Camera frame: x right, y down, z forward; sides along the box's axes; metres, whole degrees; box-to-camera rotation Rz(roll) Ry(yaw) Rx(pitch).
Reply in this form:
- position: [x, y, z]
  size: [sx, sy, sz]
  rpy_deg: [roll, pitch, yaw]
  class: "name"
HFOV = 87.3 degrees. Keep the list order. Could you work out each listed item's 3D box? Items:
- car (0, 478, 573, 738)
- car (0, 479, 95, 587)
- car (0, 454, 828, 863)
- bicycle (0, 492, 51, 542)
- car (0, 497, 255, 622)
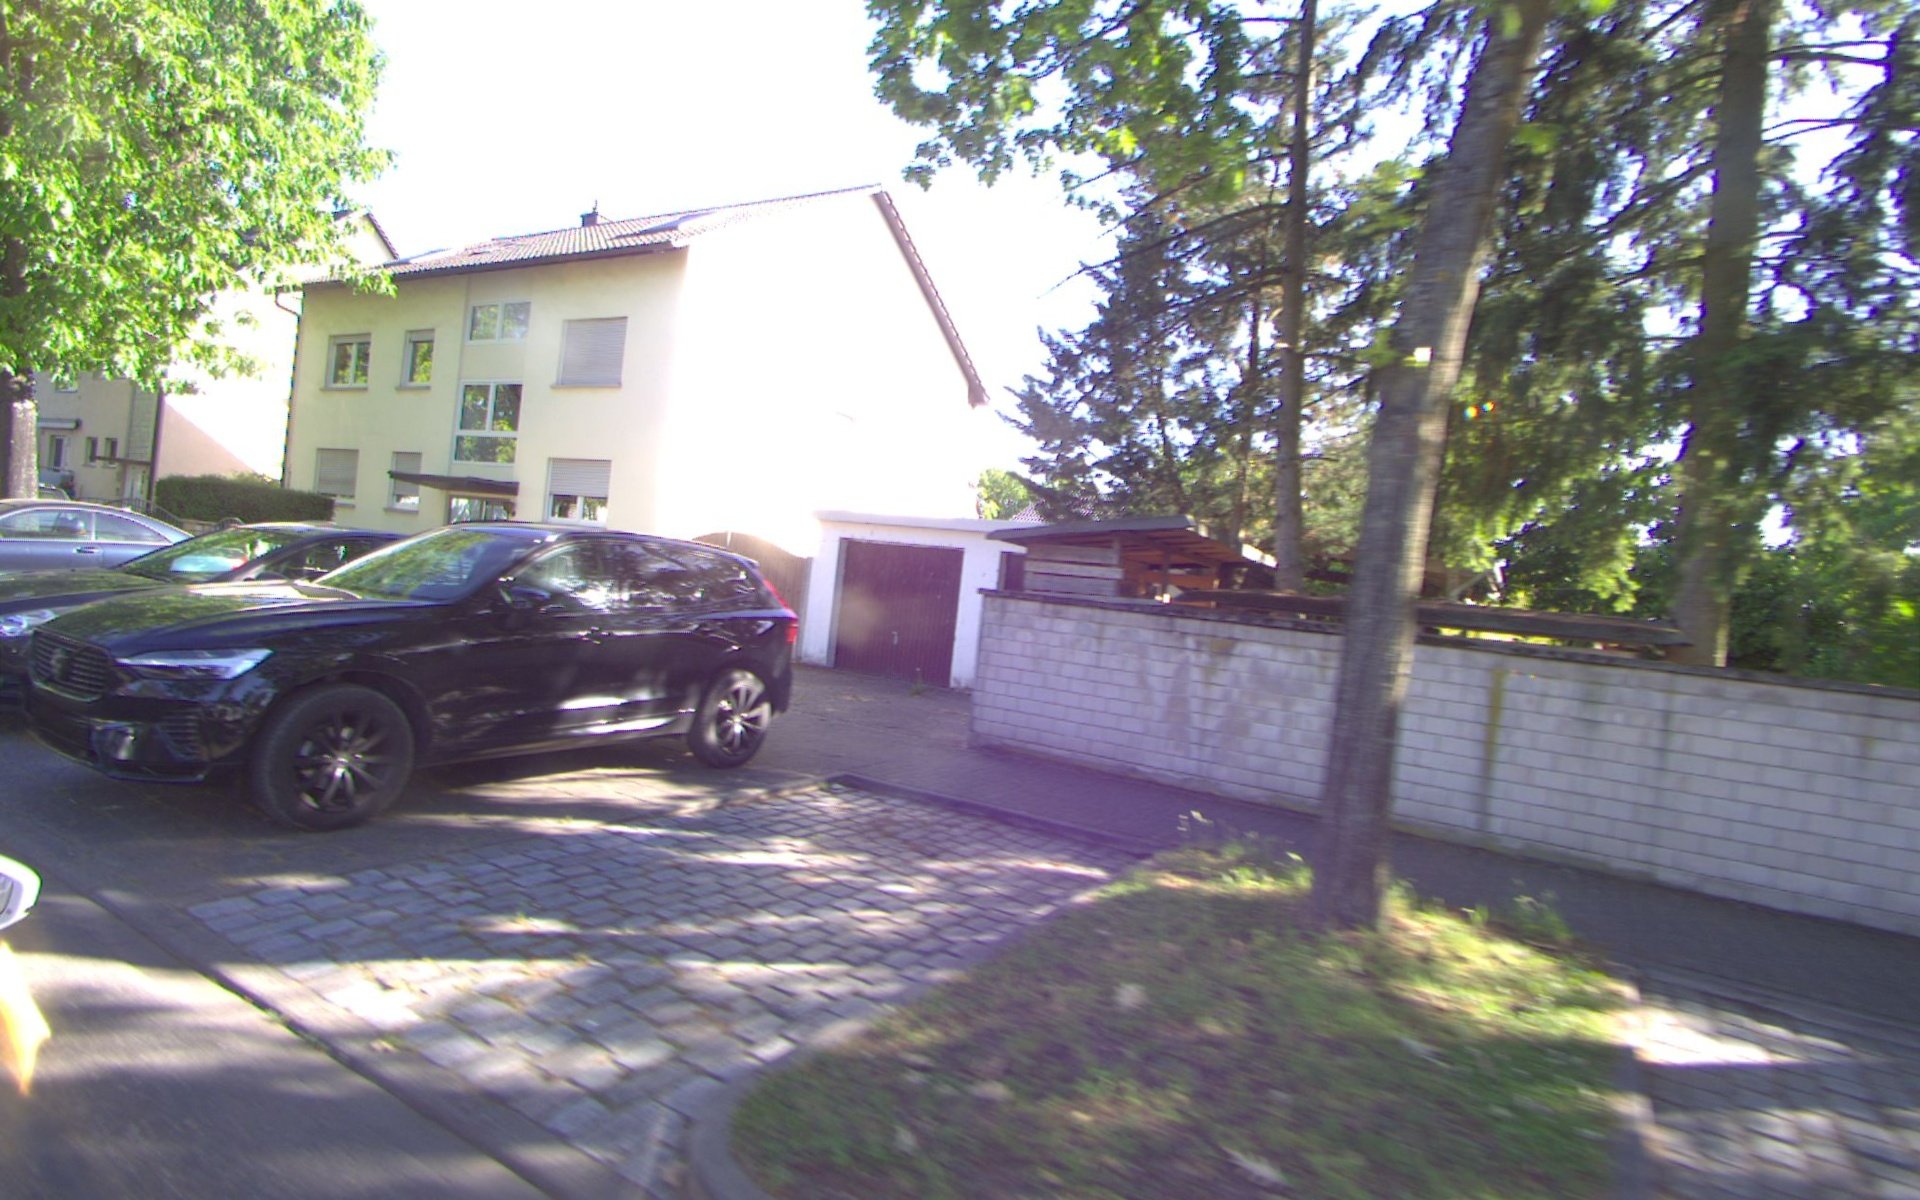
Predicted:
- position: [-5.553, 0.040, 8.051]
  size: [1.809, 1.549, 4.323]
  rpy_deg: [7, 1, 30]
  class: "car"
- position: [-15.890, -1.189, 14.827]
  size: [1.836, 1.580, 4.343]
  rpy_deg: [7, 1, 29]
  class: "car"
- position: [-3.059, 0.272, 6.619]
  size: [1.807, 1.668, 4.577]
  rpy_deg: [7, 1, 30]
  class: "car"
- position: [-26.239, -2.313, 26.874]
  size: [0.460, 1.253, 2.860]
  rpy_deg: [6, 1, 30]
  class: "bicycle"
- position: [-11.450, -0.542, 12.183]
  size: [1.663, 1.349, 4.428]
  rpy_deg: [7, 1, 33]
  class: "car"
